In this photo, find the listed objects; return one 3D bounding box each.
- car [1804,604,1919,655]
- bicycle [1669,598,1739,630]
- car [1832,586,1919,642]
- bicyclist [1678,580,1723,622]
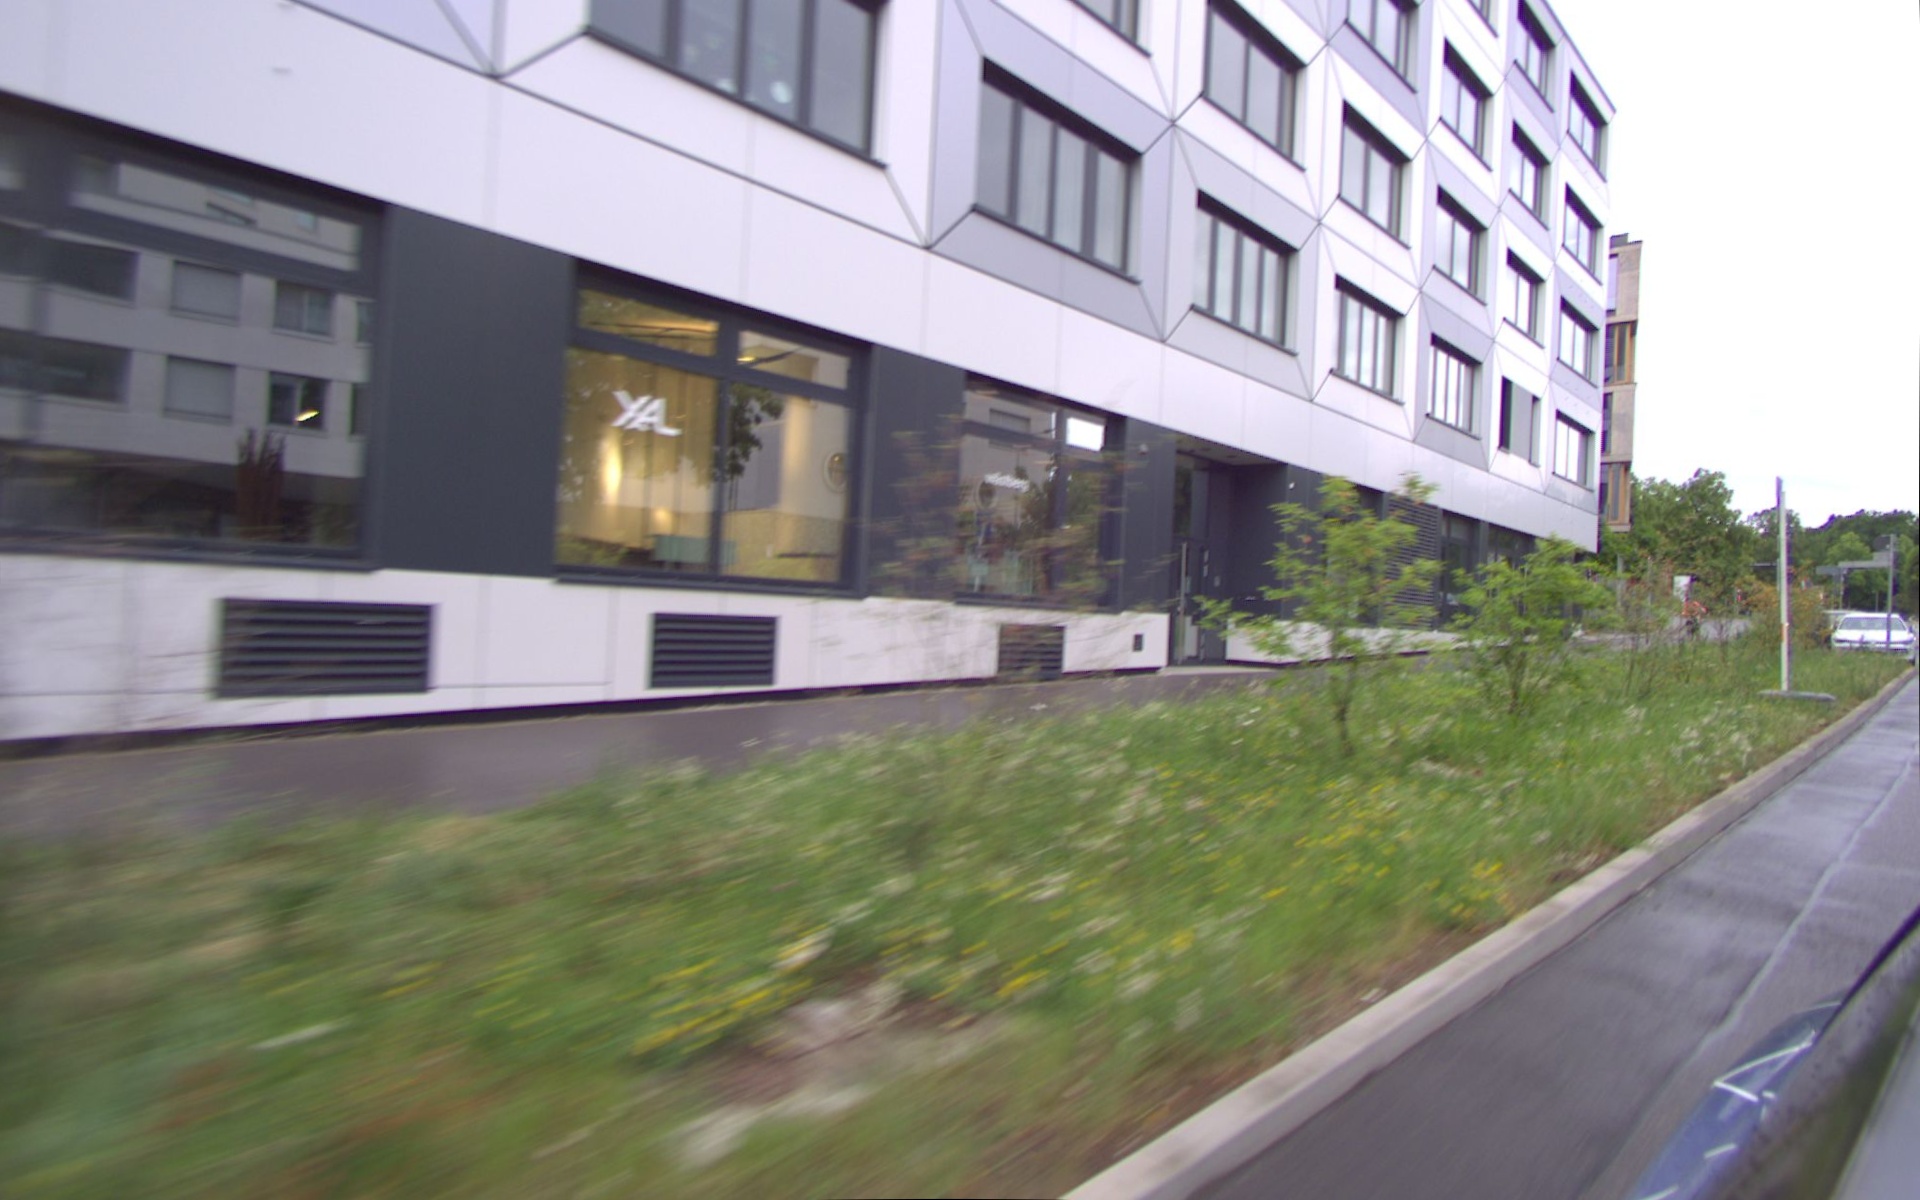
[{"bbox_3d":[29.106,0.895,32.797,2.034,1.476,4.011,0,1,31],"label":"car"},{"bbox_3d":[27.256,0.491,37.122,0.614,1.033,2.485,1,2,-3],"label":"bicycle"},{"bbox_3d":[26.308,0.353,28.893,2.038,1.483,4.434,0,1,42],"label":"car"},{"bbox_3d":[27.273,0.016,37.279,0.824,1.522,1.077,0,0,-2],"label":"bicyclist"}]
